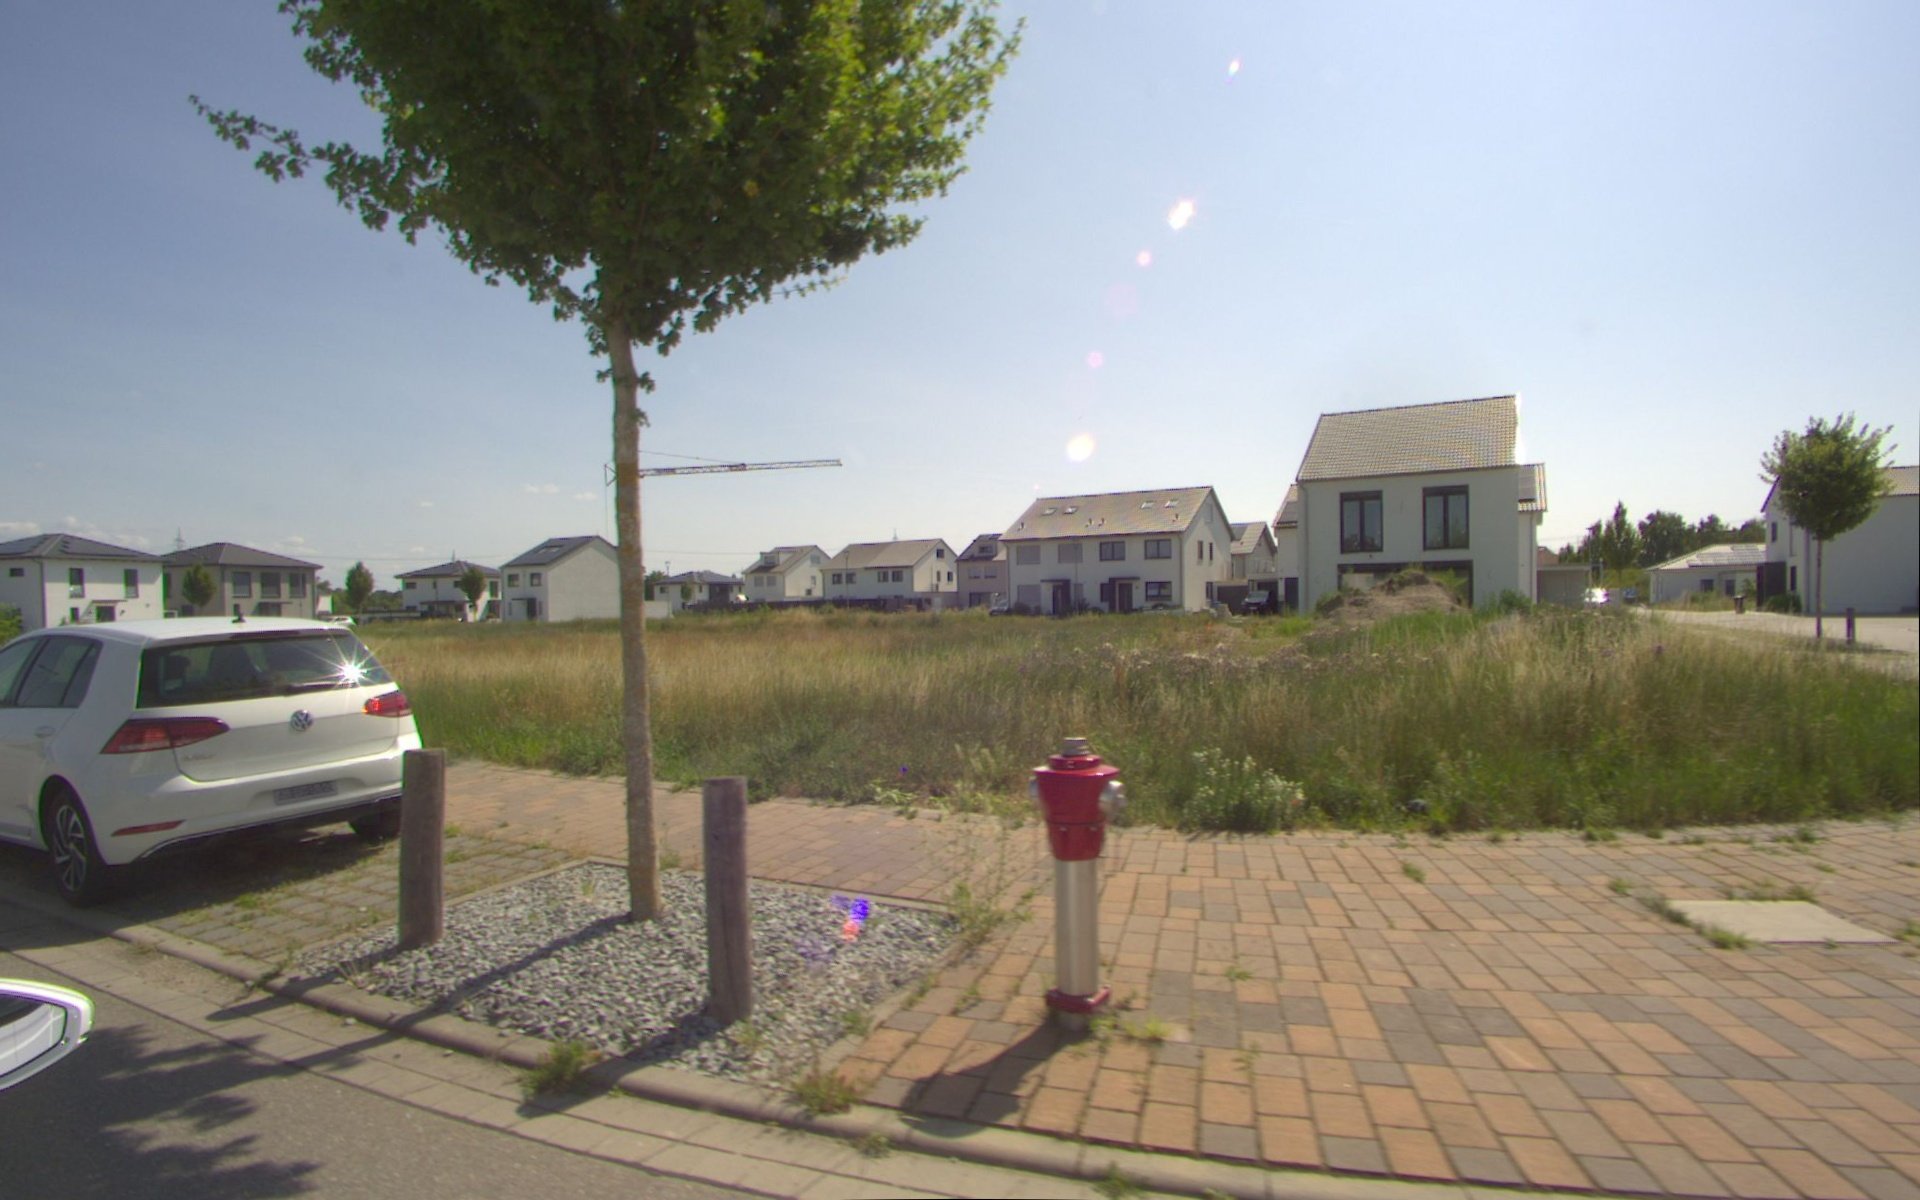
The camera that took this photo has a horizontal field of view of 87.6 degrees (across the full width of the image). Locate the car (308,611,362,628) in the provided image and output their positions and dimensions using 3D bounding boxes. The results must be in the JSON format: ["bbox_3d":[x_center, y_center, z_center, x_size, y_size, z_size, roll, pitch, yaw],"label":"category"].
[{"bbox_3d":[-56.553,1.785,90.634,1.719,1.416,3.994,-2,-1,16],"label":"car"}]

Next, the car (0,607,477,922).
[{"bbox_3d":[-5.279,0.808,6.583,4.103,1.439,1.772,0,2,30],"label":"car"}]

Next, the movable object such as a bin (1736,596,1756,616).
[{"bbox_3d":[44.593,0.326,56.795,0.796,1.113,0.669,-1,1,31],"label":"movable object such as a bin"}]

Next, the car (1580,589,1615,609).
[{"bbox_3d":[47.287,-0.069,74.363,1.896,1.439,4.401,-1,0,29],"label":"car"}]

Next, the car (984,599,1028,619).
[{"bbox_3d":[3.713,0.713,79.988,1.790,1.595,3.977,-1,0,33],"label":"car"}]

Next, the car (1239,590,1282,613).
[{"bbox_3d":[20.773,0.080,69.190,1.790,1.532,3.977,-1,0,33],"label":"car"}]
